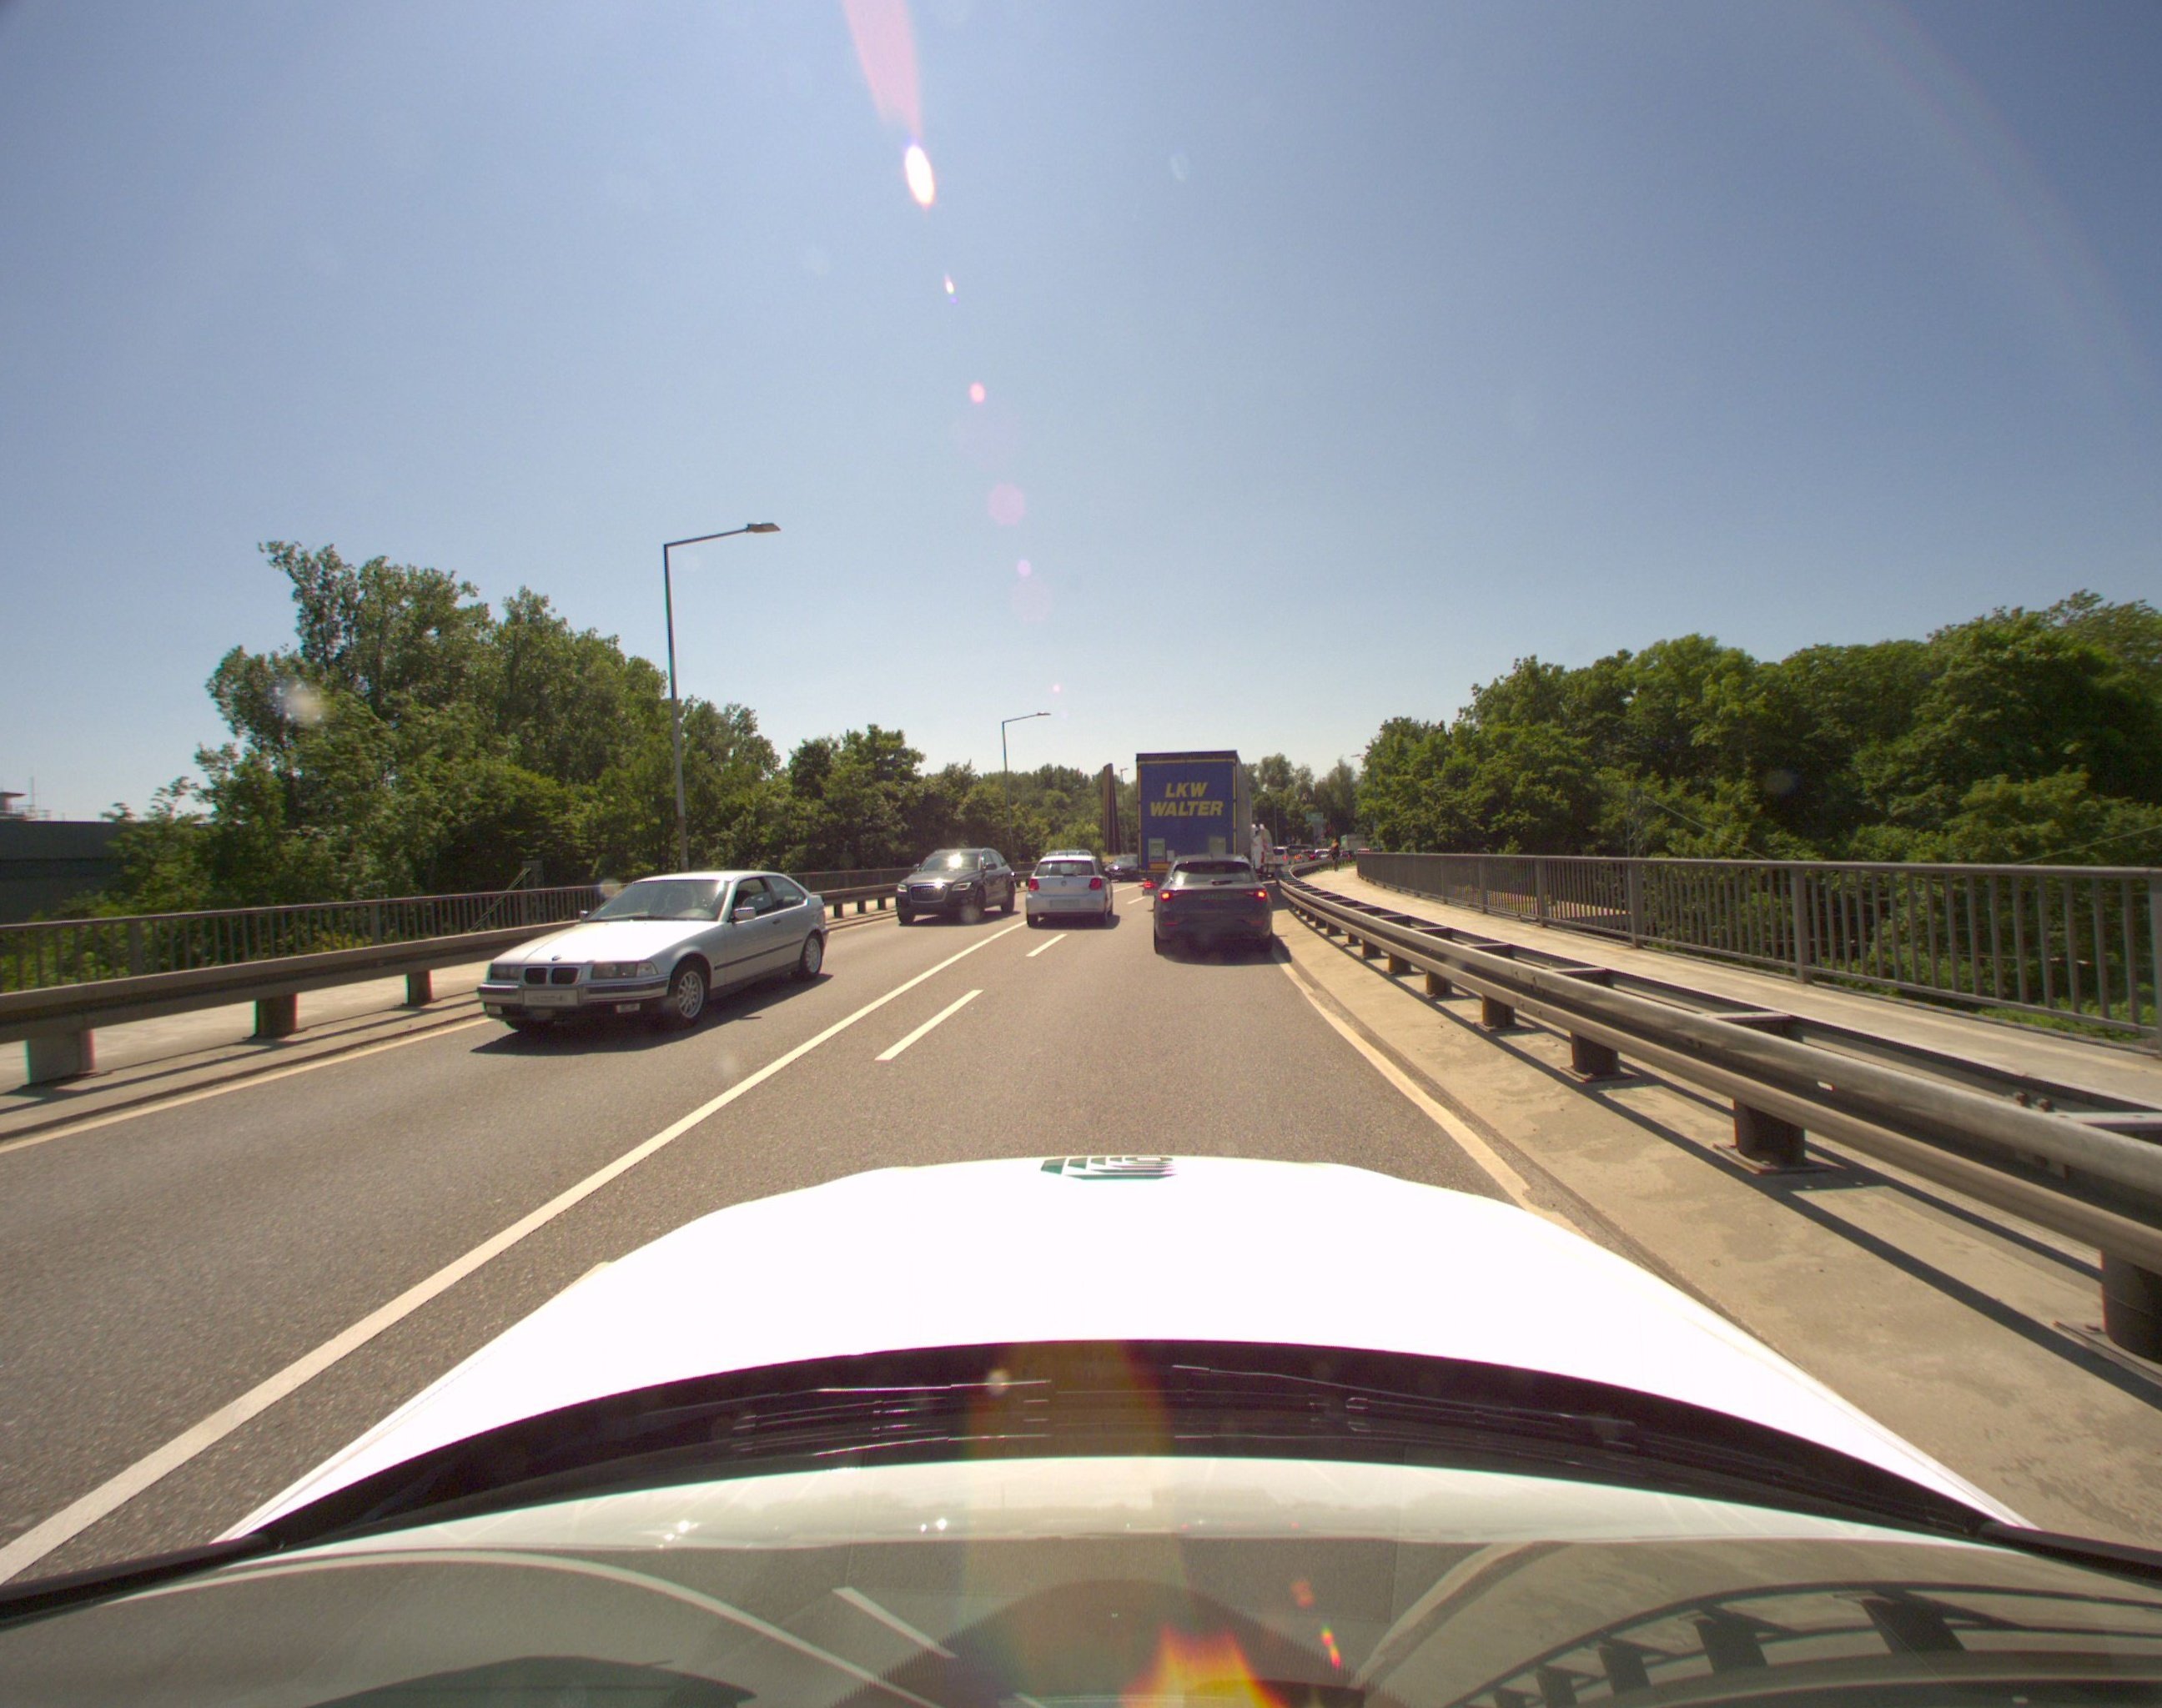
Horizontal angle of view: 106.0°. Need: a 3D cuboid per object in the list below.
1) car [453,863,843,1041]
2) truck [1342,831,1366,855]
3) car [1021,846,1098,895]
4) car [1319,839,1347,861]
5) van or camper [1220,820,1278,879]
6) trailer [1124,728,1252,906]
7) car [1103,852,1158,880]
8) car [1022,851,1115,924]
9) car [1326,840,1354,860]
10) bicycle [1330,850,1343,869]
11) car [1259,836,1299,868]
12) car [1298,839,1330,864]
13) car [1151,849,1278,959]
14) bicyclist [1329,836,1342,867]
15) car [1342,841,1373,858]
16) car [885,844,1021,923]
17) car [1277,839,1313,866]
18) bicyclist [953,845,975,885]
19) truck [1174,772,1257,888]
[{"bbox_3d":[-4.169,0.839,8.708,1.688,1.376,4.007,-2,0,6],"label":"car"},{"bbox_3d":[33.971,-1.365,101.353,2.318,2.873,5.963,-1,0,14],"label":"truck"},{"bbox_3d":[-0.691,0.545,29.626,1.694,1.626,4.269,-1,0,14],"label":"car"},{"bbox_3d":[21.396,-0.361,68.982,1.705,1.844,4.023,-1,0,25],"label":"car"},{"bbox_3d":[8.782,-0.243,42.175,2.137,2.815,6.417,-1,0,18],"label":"van or camper"},{"bbox_3d":[3.950,-0.968,26.651,2.884,4.418,12.478,-1,0,13],"label":"trailer"},{"bbox_3d":[2.566,0.588,41.701,1.664,1.308,3.993,-1,0,21],"label":"car"},{"bbox_3d":[-0.162,0.664,18.103,1.669,1.411,3.980,-1,1,5],"label":"car"},{"bbox_3d":[24.069,-0.363,75.706,1.669,1.760,4.025,-1,-1,30],"label":"car"},{"bbox_3d":[14.215,0.291,45.388,0.577,1.035,1.491,-4,-1,16],"label":"bicycle"},{"bbox_3d":[12.106,-0.142,49.609,1.705,1.843,4.022,-1,1,23],"label":"car"},{"bbox_3d":[18.062,-0.238,63.094,1.705,1.844,4.023,-1,0,25],"label":"car"},{"bbox_3d":[2.009,0.665,12.949,1.668,1.456,3.965,-1,0,6],"label":"car"},{"bbox_3d":[14.176,-0.161,45.343,0.573,1.683,0.732,-4,-1,16],"label":"bicyclist"},{"bbox_3d":[27.790,-0.441,81.808,1.974,1.575,4.025,1,-1,33],"label":"car"},{"bbox_3d":[-2.875,0.618,19.374,1.789,1.641,4.314,-1,0,11],"label":"car"},{"bbox_3d":[14.704,-0.126,55.722,1.705,1.802,4.023,-1,0,24],"label":"car"},{"bbox_3d":[-4.528,0.428,31.648,0.580,1.521,0.898,-1,0,8],"label":"bicyclist"},{"bbox_3d":[5.833,-0.938,34.494,2.884,4.418,6.581,-1,0,14],"label":"truck"}]
